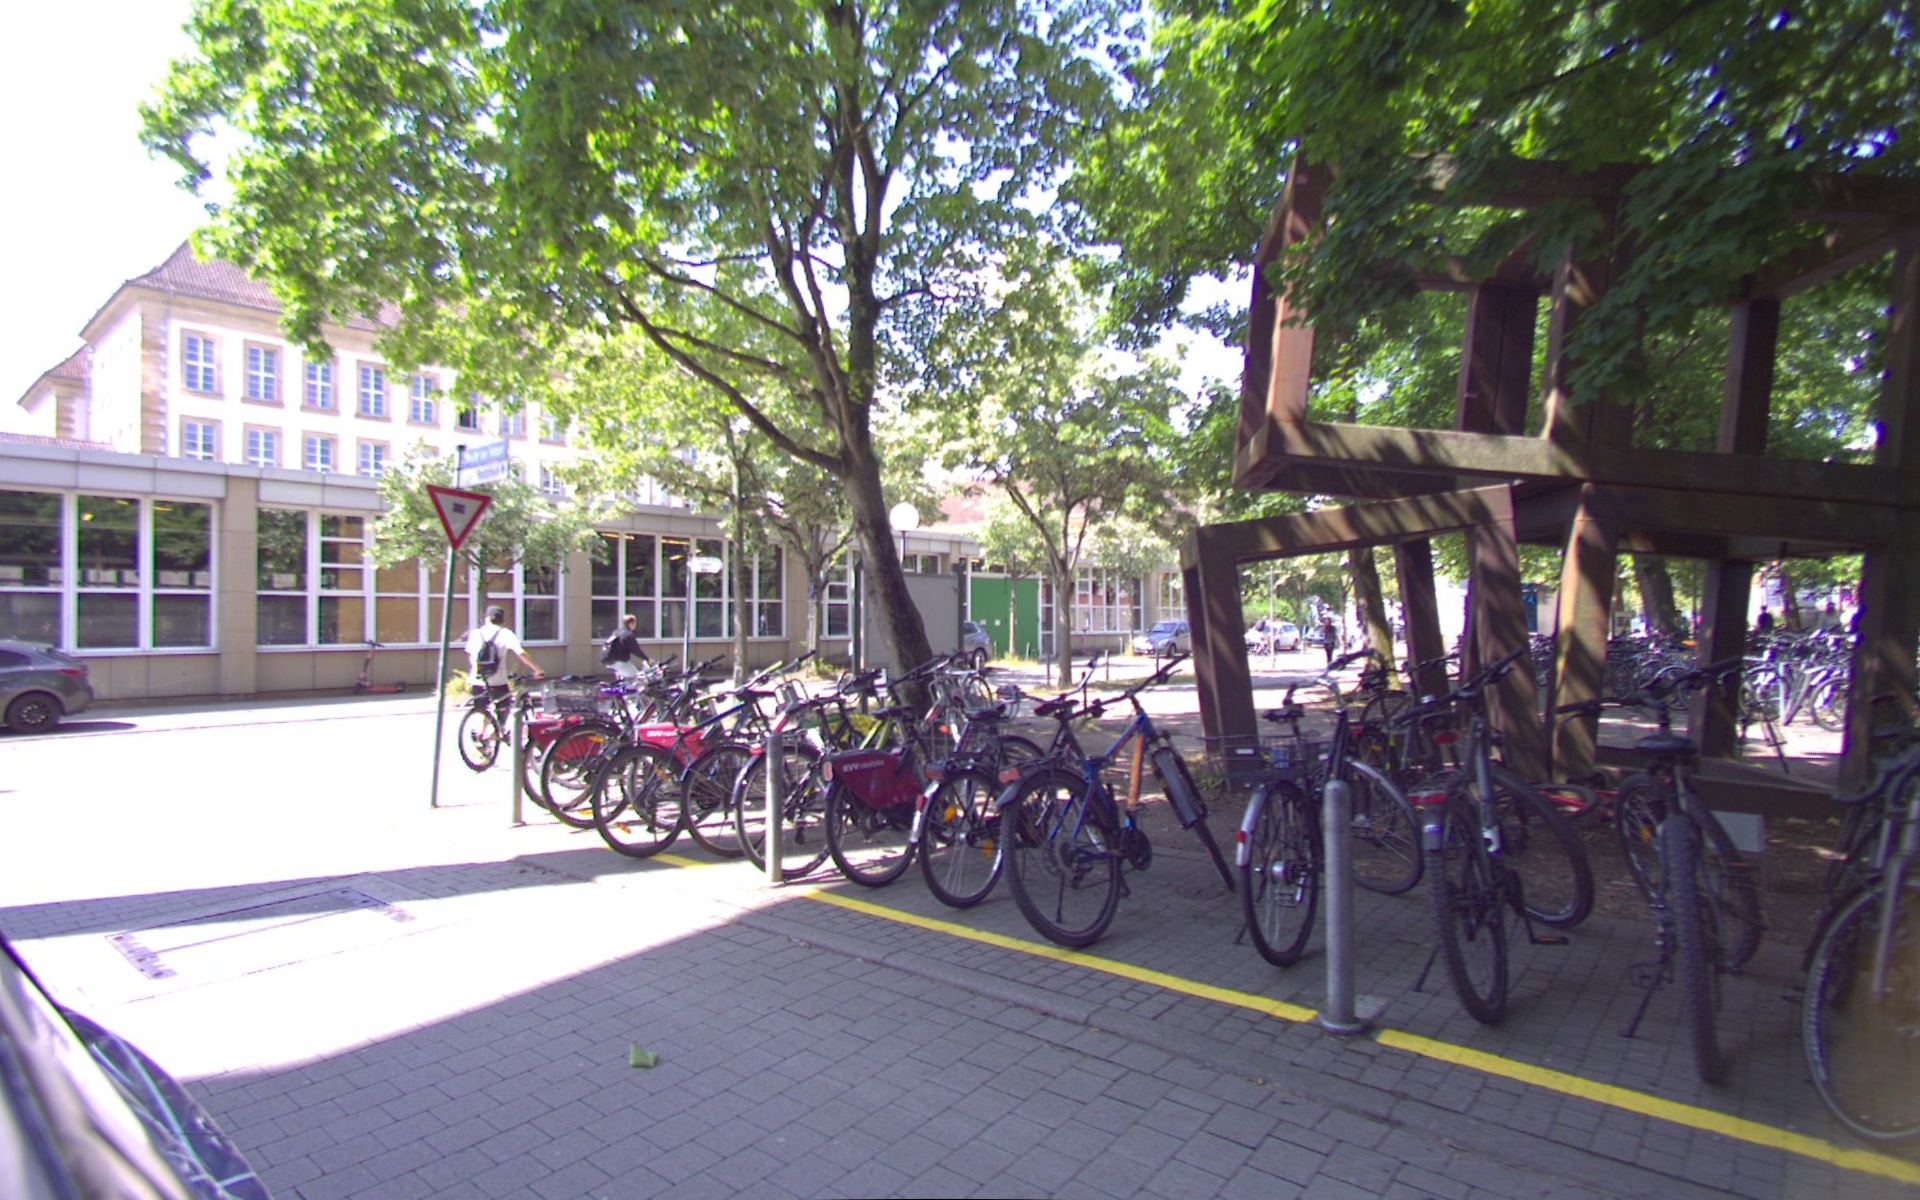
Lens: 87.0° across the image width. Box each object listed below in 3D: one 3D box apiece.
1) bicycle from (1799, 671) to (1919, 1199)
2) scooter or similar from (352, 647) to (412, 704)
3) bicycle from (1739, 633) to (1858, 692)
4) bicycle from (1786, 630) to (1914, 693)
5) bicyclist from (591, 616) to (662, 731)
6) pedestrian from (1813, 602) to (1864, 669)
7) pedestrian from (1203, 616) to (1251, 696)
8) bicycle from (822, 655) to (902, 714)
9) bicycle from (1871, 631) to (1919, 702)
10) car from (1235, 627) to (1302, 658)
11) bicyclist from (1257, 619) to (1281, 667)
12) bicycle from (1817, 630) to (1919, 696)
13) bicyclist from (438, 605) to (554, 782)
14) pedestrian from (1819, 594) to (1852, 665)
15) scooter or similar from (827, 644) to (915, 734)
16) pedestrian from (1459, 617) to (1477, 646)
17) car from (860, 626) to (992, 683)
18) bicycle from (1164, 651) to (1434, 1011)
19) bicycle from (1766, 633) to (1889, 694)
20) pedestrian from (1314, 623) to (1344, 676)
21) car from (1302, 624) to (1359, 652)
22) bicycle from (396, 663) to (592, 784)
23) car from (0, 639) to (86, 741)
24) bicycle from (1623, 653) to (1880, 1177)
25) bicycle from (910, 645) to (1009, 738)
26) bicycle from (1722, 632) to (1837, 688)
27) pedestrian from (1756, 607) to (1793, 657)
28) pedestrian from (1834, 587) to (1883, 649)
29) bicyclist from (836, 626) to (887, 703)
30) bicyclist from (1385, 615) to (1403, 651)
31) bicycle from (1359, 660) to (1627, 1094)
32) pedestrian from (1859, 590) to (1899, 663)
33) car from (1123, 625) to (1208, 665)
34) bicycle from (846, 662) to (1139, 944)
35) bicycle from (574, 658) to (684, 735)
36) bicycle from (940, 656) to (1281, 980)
[{"bbox_3d":[2.805,0.815,2.885,0.496,1.116,1.610,-1,-1,35],"label":"bicycle"},{"bbox_3d":[-13.066,1.700,22.896,0.289,1.235,1.142,-3,-3,43],"label":"scooter or similar"},{"bbox_3d":[16.315,1.211,19.705,1.834,1.092,0.473,-1,-1,3],"label":"bicycle"},{"bbox_3d":[16.251,1.119,18.499,1.834,1.092,0.473,-1,-1,3],"label":"bicycle"},{"bbox_3d":[-5.735,1.240,17.411,0.672,1.902,0.960,-1,-1,29],"label":"bicyclist"},{"bbox_3d":[24.091,0.968,27.779,0.765,1.788,0.900,-1,-1,23],"label":"pedestrian"},{"bbox_3d":[5.873,1.215,22.242,0.727,1.697,0.863,-2,-2,37],"label":"pedestrian"},{"bbox_3d":[-2.057,1.761,21.391,0.639,1.116,1.797,0,-1,37],"label":"bicycle"},{"bbox_3d":[15.543,1.035,15.952,1.834,1.092,0.473,-1,-1,3],"label":"bicycle"},{"bbox_3d":[16.190,2.197,52.983,1.836,1.553,4.480,-2,-2,38],"label":"car"},{"bbox_3d":[11.956,1.660,39.196,0.603,1.815,0.888,-3,-3,33],"label":"bicyclist"},{"bbox_3d":[15.765,1.067,17.237,1.834,1.092,0.473,-1,-1,3],"label":"bicycle"},{"bbox_3d":[-5.275,1.025,11.529,0.801,1.906,0.860,-1,0,26],"label":"bicyclist"},{"bbox_3d":[22.237,0.743,25.705,0.501,1.784,0.663,-2,-1,33],"label":"pedestrian"},{"bbox_3d":[-1.241,1.222,14.098,1.165,1.204,0.293,0,-2,-14],"label":"scooter or similar"},{"bbox_3d":[31.075,1.928,61.900,0.763,1.788,0.902,-1,-1,18],"label":"pedestrian"},{"bbox_3d":[-1.027,1.704,32.766,1.836,1.630,4.480,0,-1,38],"label":"car"},{"bbox_3d":[1.488,0.836,4.267,0.497,1.159,1.607,-1,-1,41],"label":"bicycle"},{"bbox_3d":[16.389,1.195,19.144,1.834,1.092,0.473,-1,-1,3],"label":"bicycle"},{"bbox_3d":[10.944,1.459,29.994,0.570,1.531,0.830,-2,-1,38],"label":"pedestrian"},{"bbox_3d":[21.798,2.191,59.486,1.836,1.553,4.480,-2,-2,38],"label":"car"},{"bbox_3d":[-5.143,1.329,11.284,0.802,1.181,1.866,-4,-4,31],"label":"bicycle"},{"bbox_3d":[-15.932,1.406,15.123,1.652,1.487,4.155,0,0,40],"label":"car"},{"bbox_3d":[2.512,0.803,3.306,0.496,1.170,1.764,-1,-1,35],"label":"bicycle"},{"bbox_3d":[0.026,1.204,13.803,0.392,1.116,1.818,-1,-1,34],"label":"bicycle"},{"bbox_3d":[16.421,1.197,20.301,1.834,1.092,0.473,-1,-1,3],"label":"bicycle"},{"bbox_3d":[29.596,1.154,36.773,0.765,1.816,0.900,-1,-1,23],"label":"pedestrian"},{"bbox_3d":[26.395,0.527,29.750,0.765,1.788,0.900,-1,-1,23],"label":"pedestrian"},{"bbox_3d":[-2.074,1.339,21.359,0.639,1.585,0.864,0,-1,37],"label":"bicyclist"},{"bbox_3d":[22.726,1.737,53.011,0.669,1.889,0.817,-3,-3,35],"label":"bicyclist"},{"bbox_3d":[2.002,0.827,3.686,0.644,1.116,1.610,-1,-1,35],"label":"bicycle"},{"bbox_3d":[22.920,0.647,25.246,0.608,1.788,0.652,-2,-1,34],"label":"pedestrian"},{"bbox_3d":[9.091,1.956,44.515,1.836,1.646,4.480,-2,-2,38],"label":"car"},{"bbox_3d":[0.219,0.918,5.093,1.606,1.116,0.497,0,-1,-45],"label":"bicycle"},{"bbox_3d":[-5.684,1.633,17.488,0.672,1.149,1.868,-1,-1,29],"label":"bicycle"},{"bbox_3d":[0.735,0.856,4.590,1.606,1.116,0.691,0,-1,-45],"label":"bicycle"}]
